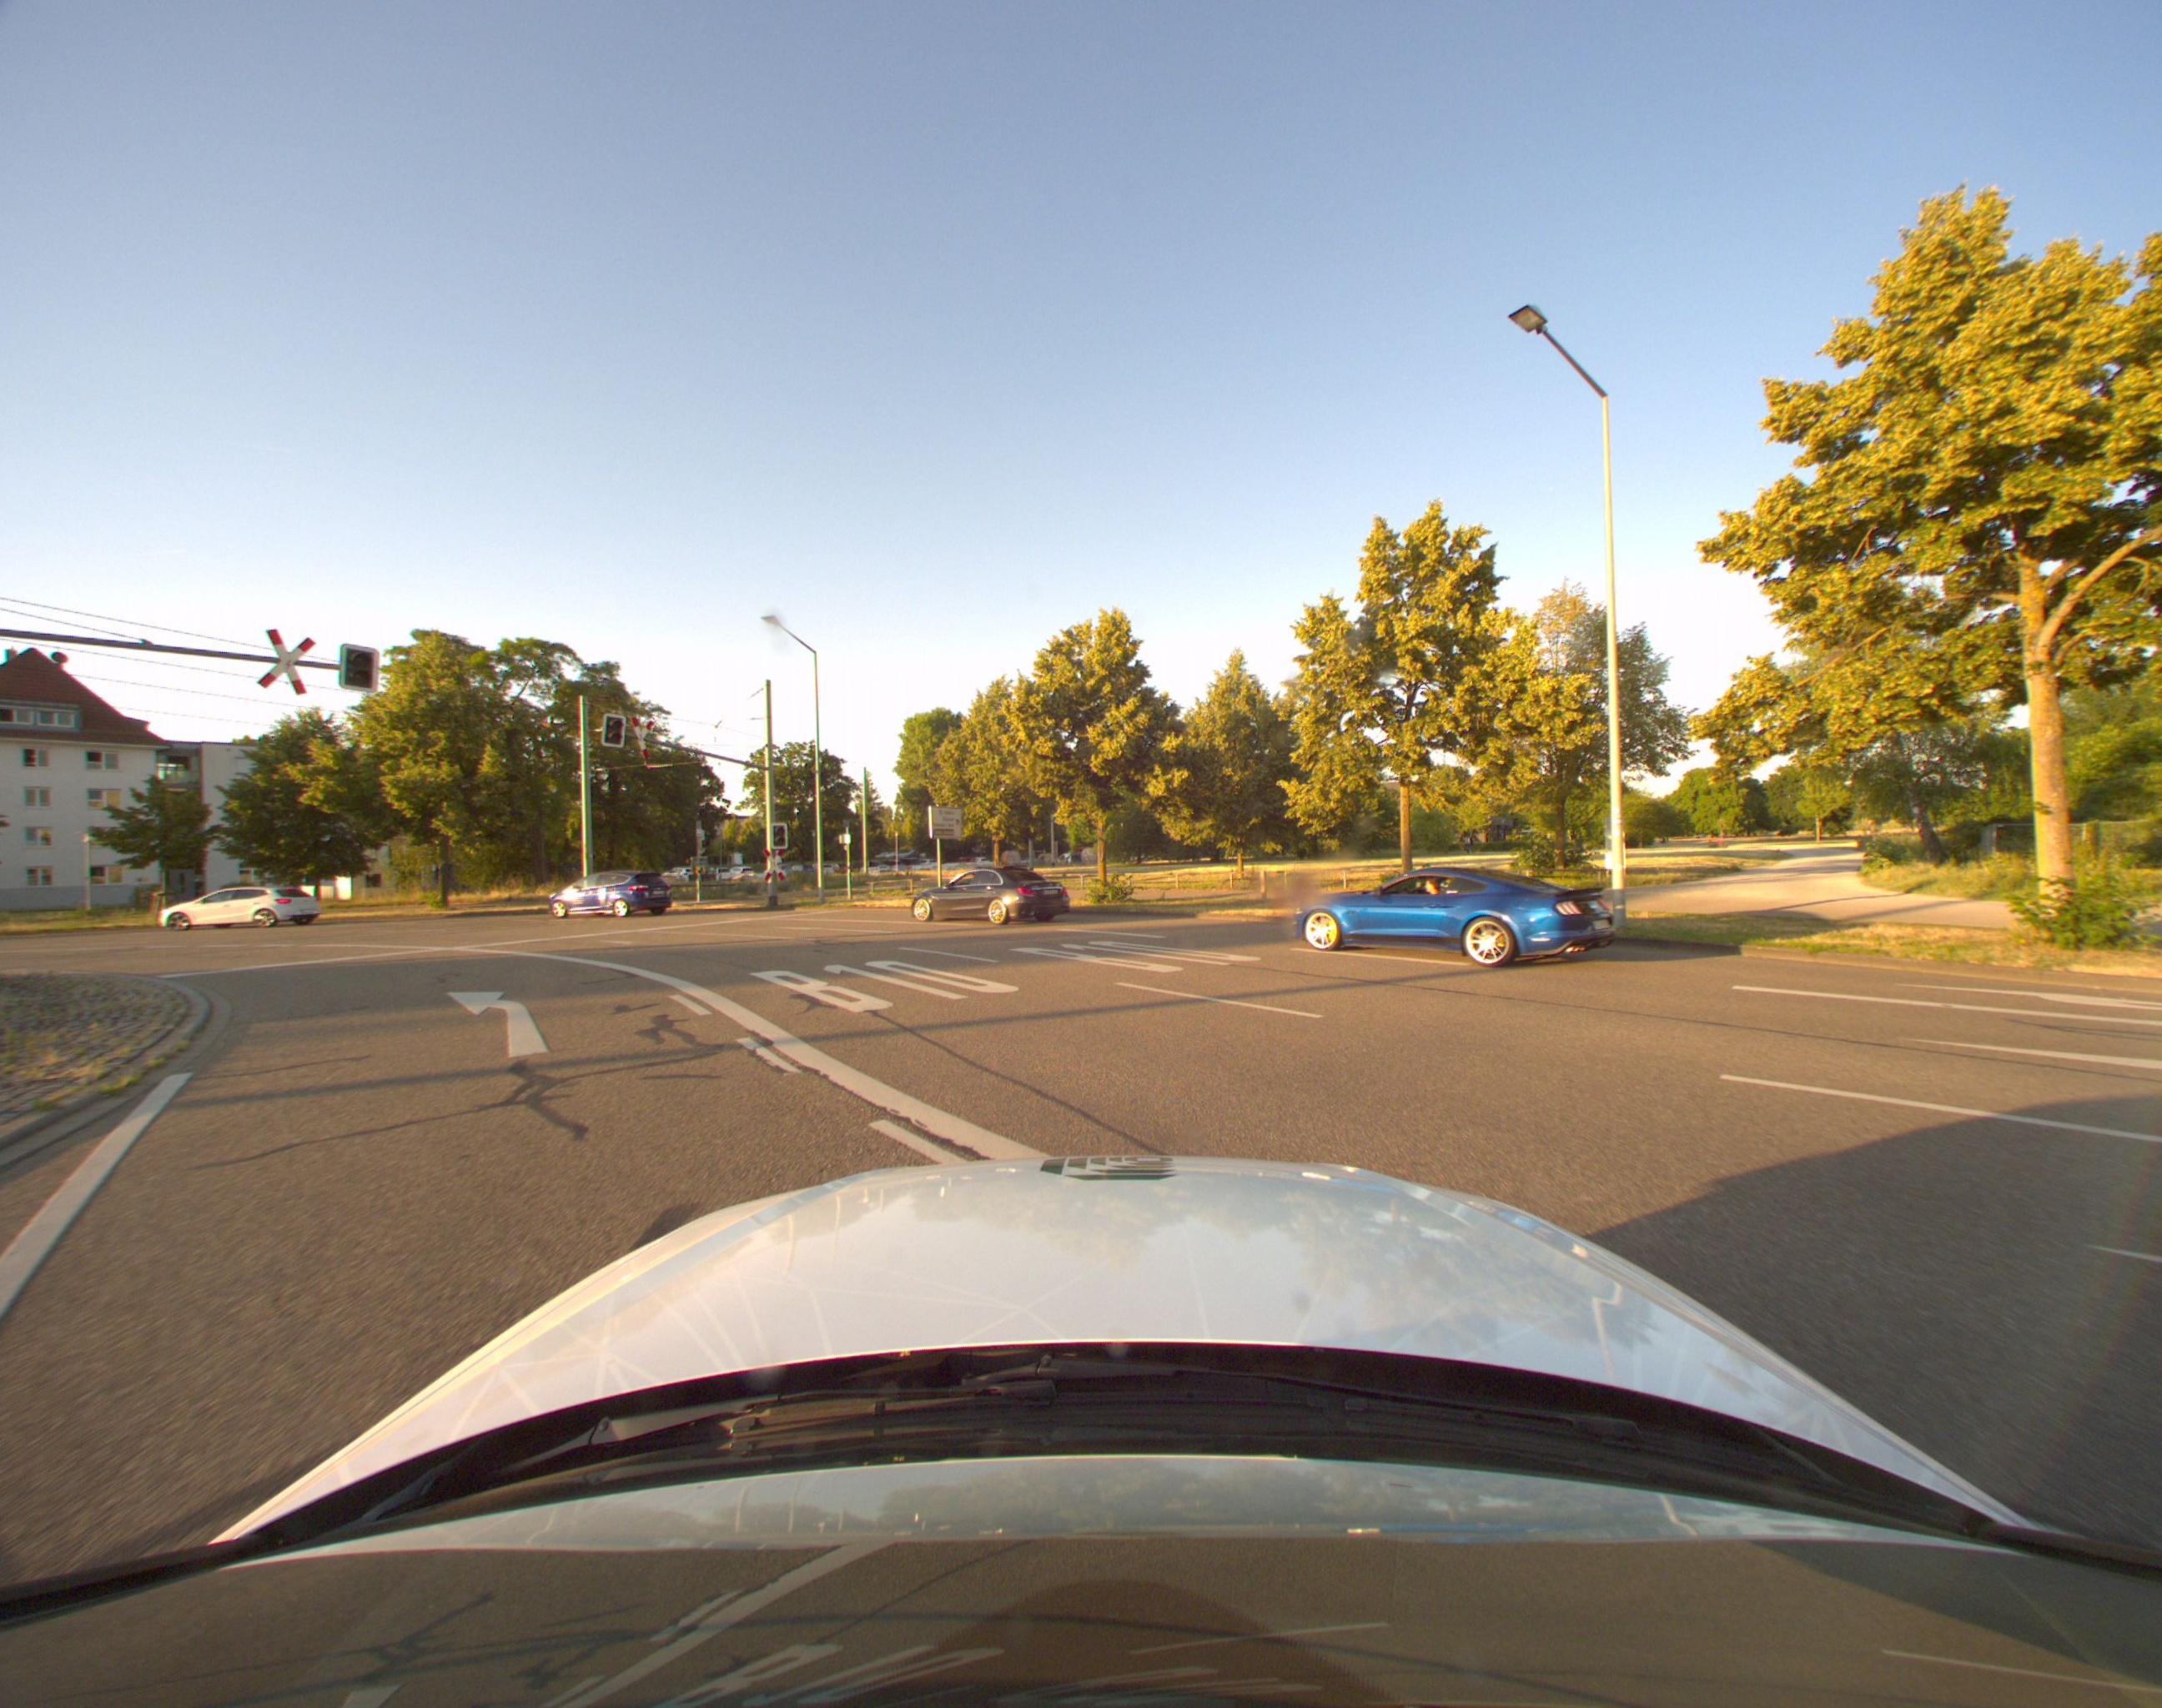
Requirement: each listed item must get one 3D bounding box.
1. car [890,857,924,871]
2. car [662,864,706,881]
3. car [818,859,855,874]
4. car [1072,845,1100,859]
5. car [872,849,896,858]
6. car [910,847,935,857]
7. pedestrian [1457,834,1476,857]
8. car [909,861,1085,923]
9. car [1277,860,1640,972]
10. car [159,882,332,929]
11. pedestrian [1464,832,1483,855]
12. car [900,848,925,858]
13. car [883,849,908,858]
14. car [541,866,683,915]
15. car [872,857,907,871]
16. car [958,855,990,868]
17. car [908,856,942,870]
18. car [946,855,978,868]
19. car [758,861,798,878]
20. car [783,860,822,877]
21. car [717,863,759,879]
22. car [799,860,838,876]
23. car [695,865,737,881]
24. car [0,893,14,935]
[{"bbox_3d":[-21.423,1.218,100.196,3.948,1.553,1.916,-2,0,33],"label":"car"},{"bbox_3d":[-38.166,1.802,78.257,3.948,1.445,1.965,-2,0,33],"label":"car"},{"bbox_3d":[-27.813,1.435,92.643,3.948,1.553,1.916,-2,0,33],"label":"car"},{"bbox_3d":[0.782,-0.389,130.441,3.948,2.095,1.916,-2,0,33],"label":"car"},{"bbox_3d":[-36.235,-0.052,149.861,1.879,1.553,4.026,-2,0,37],"label":"car"},{"bbox_3d":[-27.802,-0.324,143.021,1.974,1.744,4.025,-1,-1,36],"label":"car"},{"bbox_3d":[32.761,-0.728,69.161,1.107,1.863,0.904,-2,0,-25],"label":"pedestrian"},{"bbox_3d":[-2.230,0.929,20.993,4.372,1.427,1.970,-1,-1,39],"label":"car"},{"bbox_3d":[5.460,0.782,12.380,1.967,1.342,4.618,0,0,-38],"label":"car"},{"bbox_3d":[-29.487,1.779,28.860,3.901,1.401,1.877,-2,0,-8],"label":"car"},{"bbox_3d":[32.617,-0.836,67.738,1.107,1.863,0.904,-2,0,-25],"label":"pedestrian"},{"bbox_3d":[-30.004,-0.212,144.950,1.879,1.553,4.026,-2,0,37],"label":"car"},{"bbox_3d":[-33.661,-0.135,147.890,1.879,1.553,4.026,-2,0,37],"label":"car"},{"bbox_3d":[-16.357,1.252,28.462,4.034,1.602,1.965,-1,-1,15],"label":"car"},{"bbox_3d":[-22.987,1.216,97.753,3.948,1.553,1.916,-2,0,33],"label":"car"},{"bbox_3d":[-14.441,1.005,109.614,3.948,1.553,1.916,-2,0,33],"label":"car"},{"bbox_3d":[-19.651,1.135,102.615,3.948,1.553,1.916,-2,0,33],"label":"car"},{"bbox_3d":[-15.718,0.998,107.631,3.948,1.553,1.916,-2,0,33],"label":"car"},{"bbox_3d":[-32.264,1.644,86.787,3.948,1.662,1.965,-2,0,33],"label":"car"},{"bbox_3d":[-30.312,1.577,88.542,3.948,1.662,1.965,-2,0,33],"label":"car"},{"bbox_3d":[-34.659,1.737,82.191,3.948,1.445,1.965,-2,0,33],"label":"car"},{"bbox_3d":[-29.163,1.585,90.470,3.948,1.662,1.965,-2,0,33],"label":"car"},{"bbox_3d":[-36.064,1.865,80.502,3.948,1.445,1.965,-2,0,33],"label":"car"},{"bbox_3d":[-38.363,2.082,26.612,3.908,1.401,1.874,-2,0,-13],"label":"car"}]
